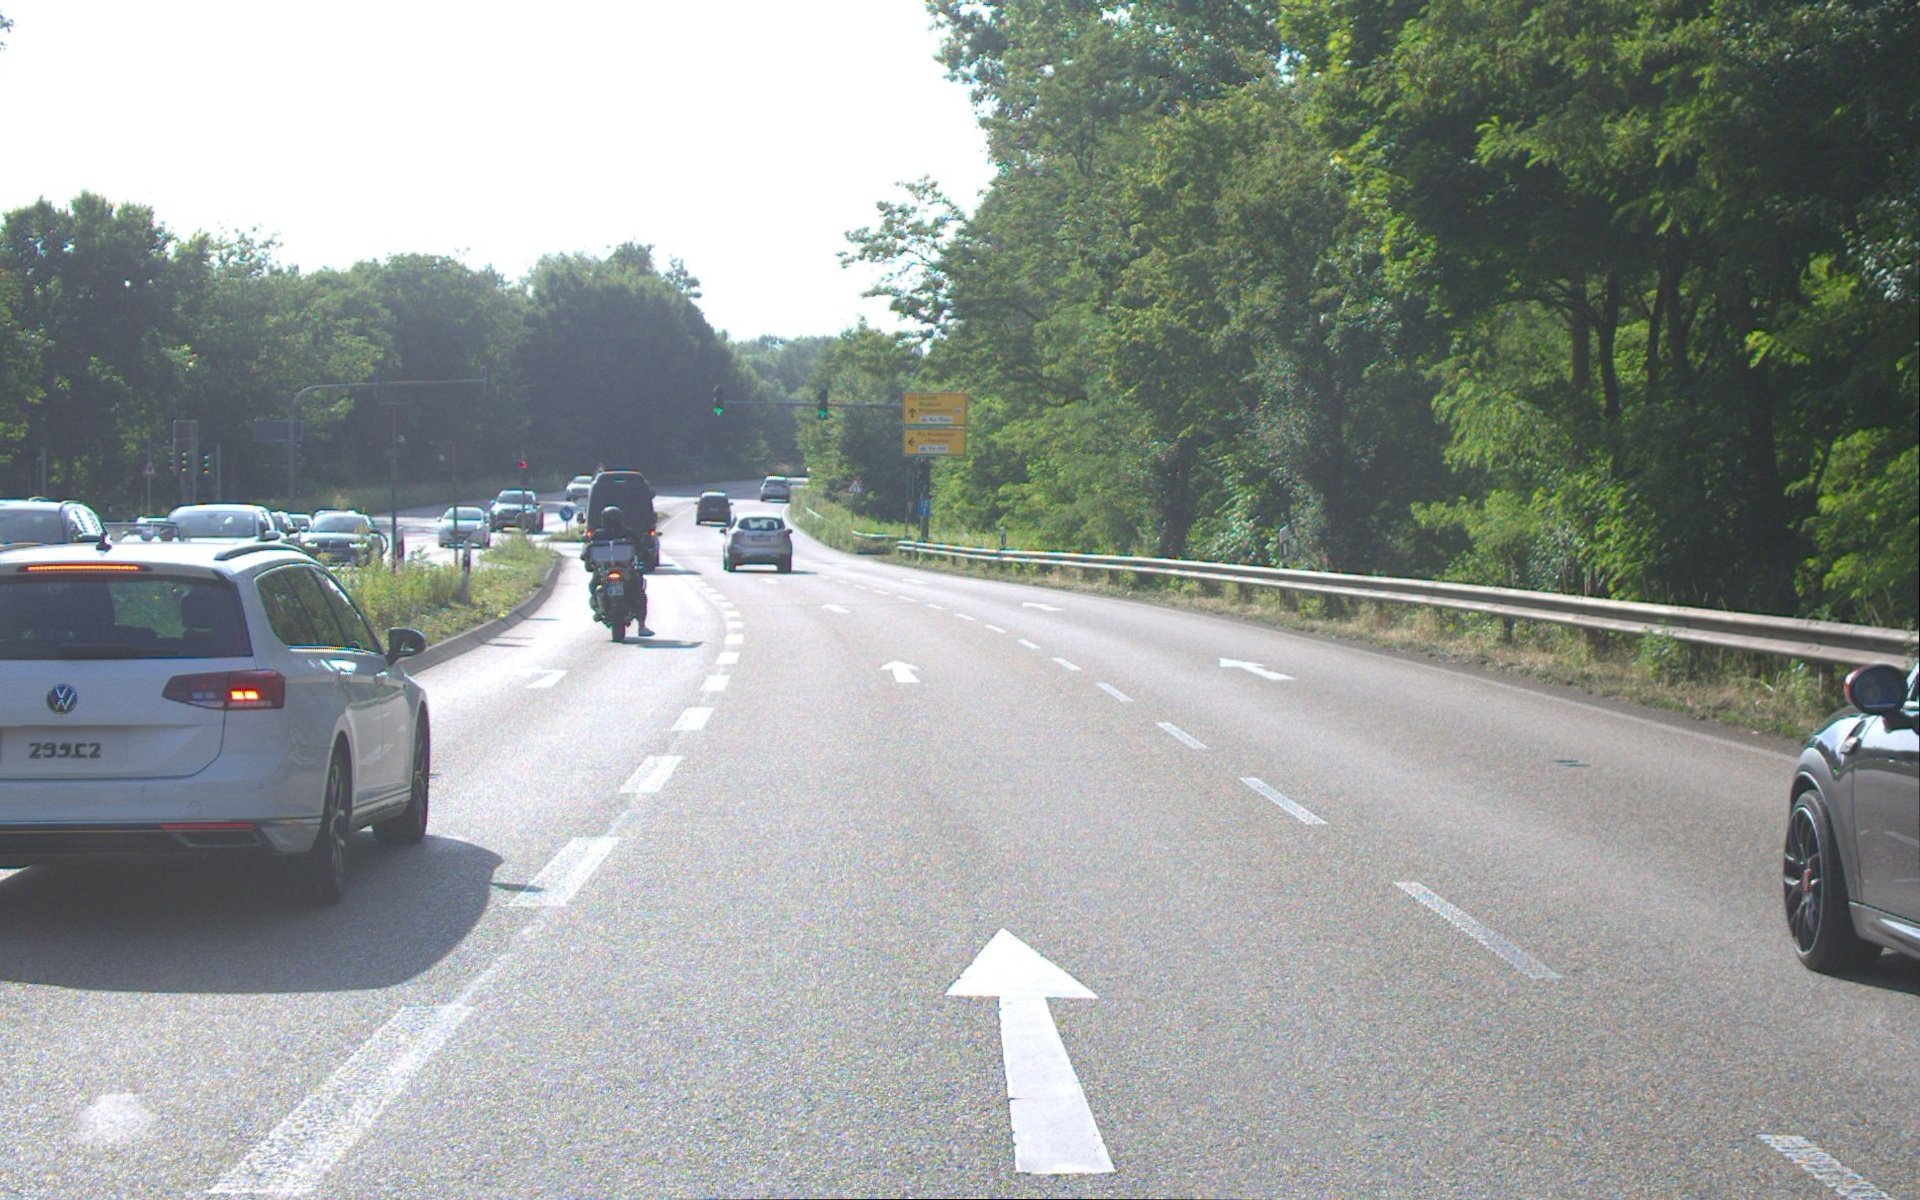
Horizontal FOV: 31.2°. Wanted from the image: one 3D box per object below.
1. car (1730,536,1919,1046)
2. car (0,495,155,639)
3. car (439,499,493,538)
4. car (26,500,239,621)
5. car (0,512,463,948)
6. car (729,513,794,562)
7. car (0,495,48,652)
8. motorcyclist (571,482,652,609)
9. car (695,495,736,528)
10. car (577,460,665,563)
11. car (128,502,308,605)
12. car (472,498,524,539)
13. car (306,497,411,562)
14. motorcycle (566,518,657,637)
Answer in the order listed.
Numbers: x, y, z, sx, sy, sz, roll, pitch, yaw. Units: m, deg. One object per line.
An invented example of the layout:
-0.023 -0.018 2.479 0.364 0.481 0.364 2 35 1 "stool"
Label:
3.709 0.555 10.451 1.819 1.462 3.873 0 2 -1 "car"
-9.936 -0.401 36.565 1.767 1.418 5.194 0 2 -3 "car"
-18.261 -3.024 127.241 1.788 1.406 4.228 0 1 -6 "car"
-10.234 -0.530 42.810 1.767 1.412 4.435 0 2 -3 "car"
-3.426 0.423 15.108 1.870 1.516 4.835 2 2 -2 "car"
-5.680 -1.805 98.539 1.761 1.375 3.972 0 1 -2 "car"
-9.521 -0.228 30.914 1.706 1.418 4.212 0 2 -3 "car"
-4.573 -0.729 45.168 0.883 1.610 1.290 2 1 -1 "motorcyclist"
-12.101 -4.377 169.967 1.744 1.532 3.927 2 2 -7 "car"
-9.785 -2.596 99.688 2.209 2.878 7.012 0 2 -3 "car"
-10.723 -0.713 49.962 1.867 1.412 4.416 0 2 -3 "car"
-20.176 -3.578 150.201 2.075 1.757 4.758 -1 2 -6 "car"
-16.466 -1.951 94.369 2.102 1.702 6.226 0 1 -3 "car"
-4.558 -0.321 45.188 0.908 1.448 2.689 -2 2 -1 "motorcycle"
